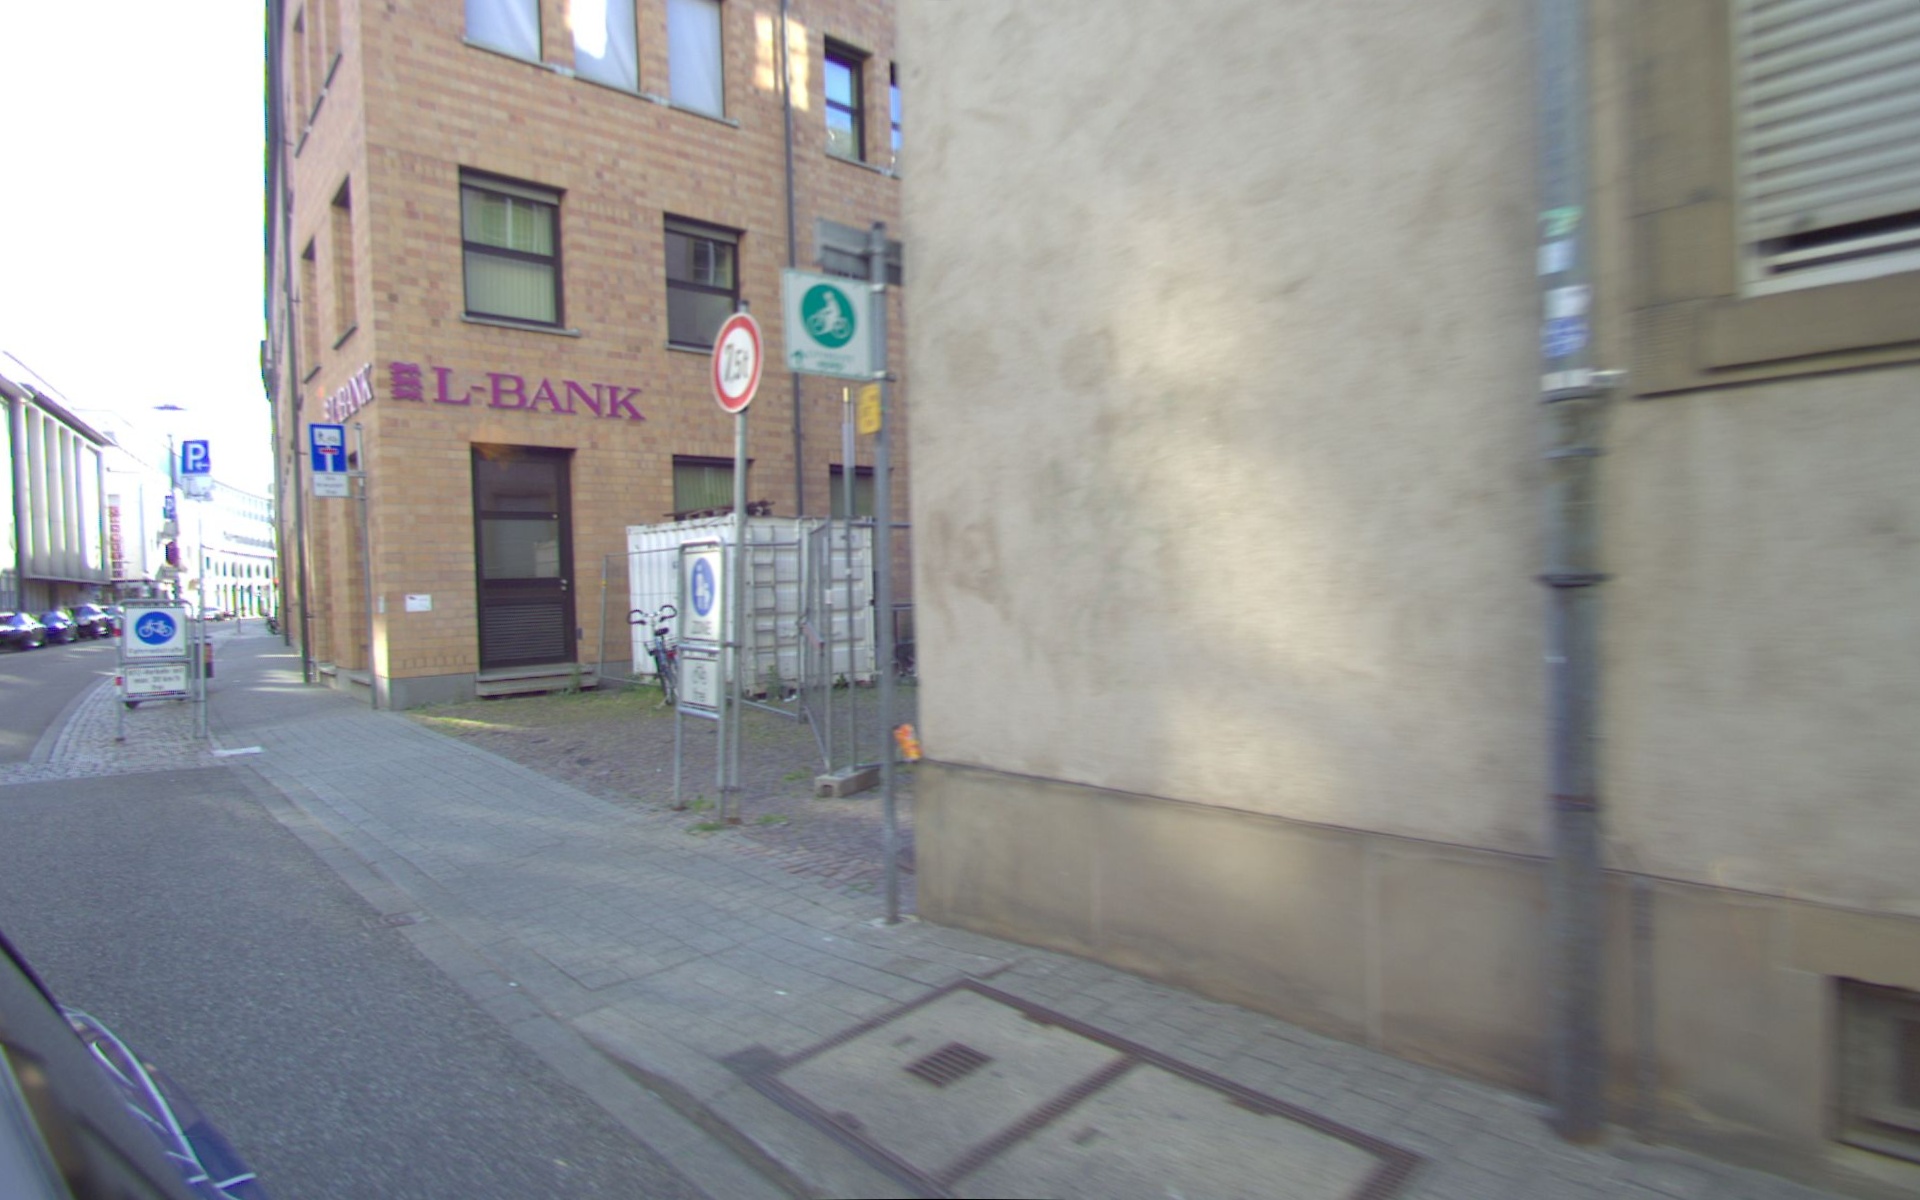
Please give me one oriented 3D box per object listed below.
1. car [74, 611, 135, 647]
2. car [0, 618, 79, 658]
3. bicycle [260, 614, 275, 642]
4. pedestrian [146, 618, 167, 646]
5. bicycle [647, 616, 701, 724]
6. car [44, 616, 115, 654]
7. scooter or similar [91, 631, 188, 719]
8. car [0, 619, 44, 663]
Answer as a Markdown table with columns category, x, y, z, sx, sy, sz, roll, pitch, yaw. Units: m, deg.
| category | x | y | z | sx | sy | sz | roll | pitch | yaw |
| --- | --- | --- | --- | --- | --- | --- | --- | --- | --- |
| car | -45.556 | 1.525 | 53.971 | 1.934 | 1.658 | 4.208 | -5 | 2 | -34 |
| car | -38.780 | 1.556 | 42.602 | 1.934 | 1.418 | 4.208 | -5 | 2 | -34 |
| bicycle | -29.924 | 1.188 | 43.726 | 0.424 | 1.152 | 1.695 | -3 | 1 | -32 |
| pedestrian | -59.022 | 2.351 | 74.353 | 0.898 | 2.028 | 0.933 | -2 | 1 | 36 |
| bicycle | -3.421 | 0.789 | 12.043 | 0.424 | 1.152 | 1.596 | -3 | 1 | -21 |
| car | -41.666 | 1.620 | 47.986 | 1.934 | 1.547 | 4.208 | -5 | 2 | -34 |
| scooter or similar | -12.364 | 1.107 | 15.291 | 0.461 | 1.234 | 1.301 | -1 | -1 | -3 |
| car | -35.283 | 1.525 | 37.040 | 1.934 | 1.418 | 4.208 | -5 | 2 | -34 |
